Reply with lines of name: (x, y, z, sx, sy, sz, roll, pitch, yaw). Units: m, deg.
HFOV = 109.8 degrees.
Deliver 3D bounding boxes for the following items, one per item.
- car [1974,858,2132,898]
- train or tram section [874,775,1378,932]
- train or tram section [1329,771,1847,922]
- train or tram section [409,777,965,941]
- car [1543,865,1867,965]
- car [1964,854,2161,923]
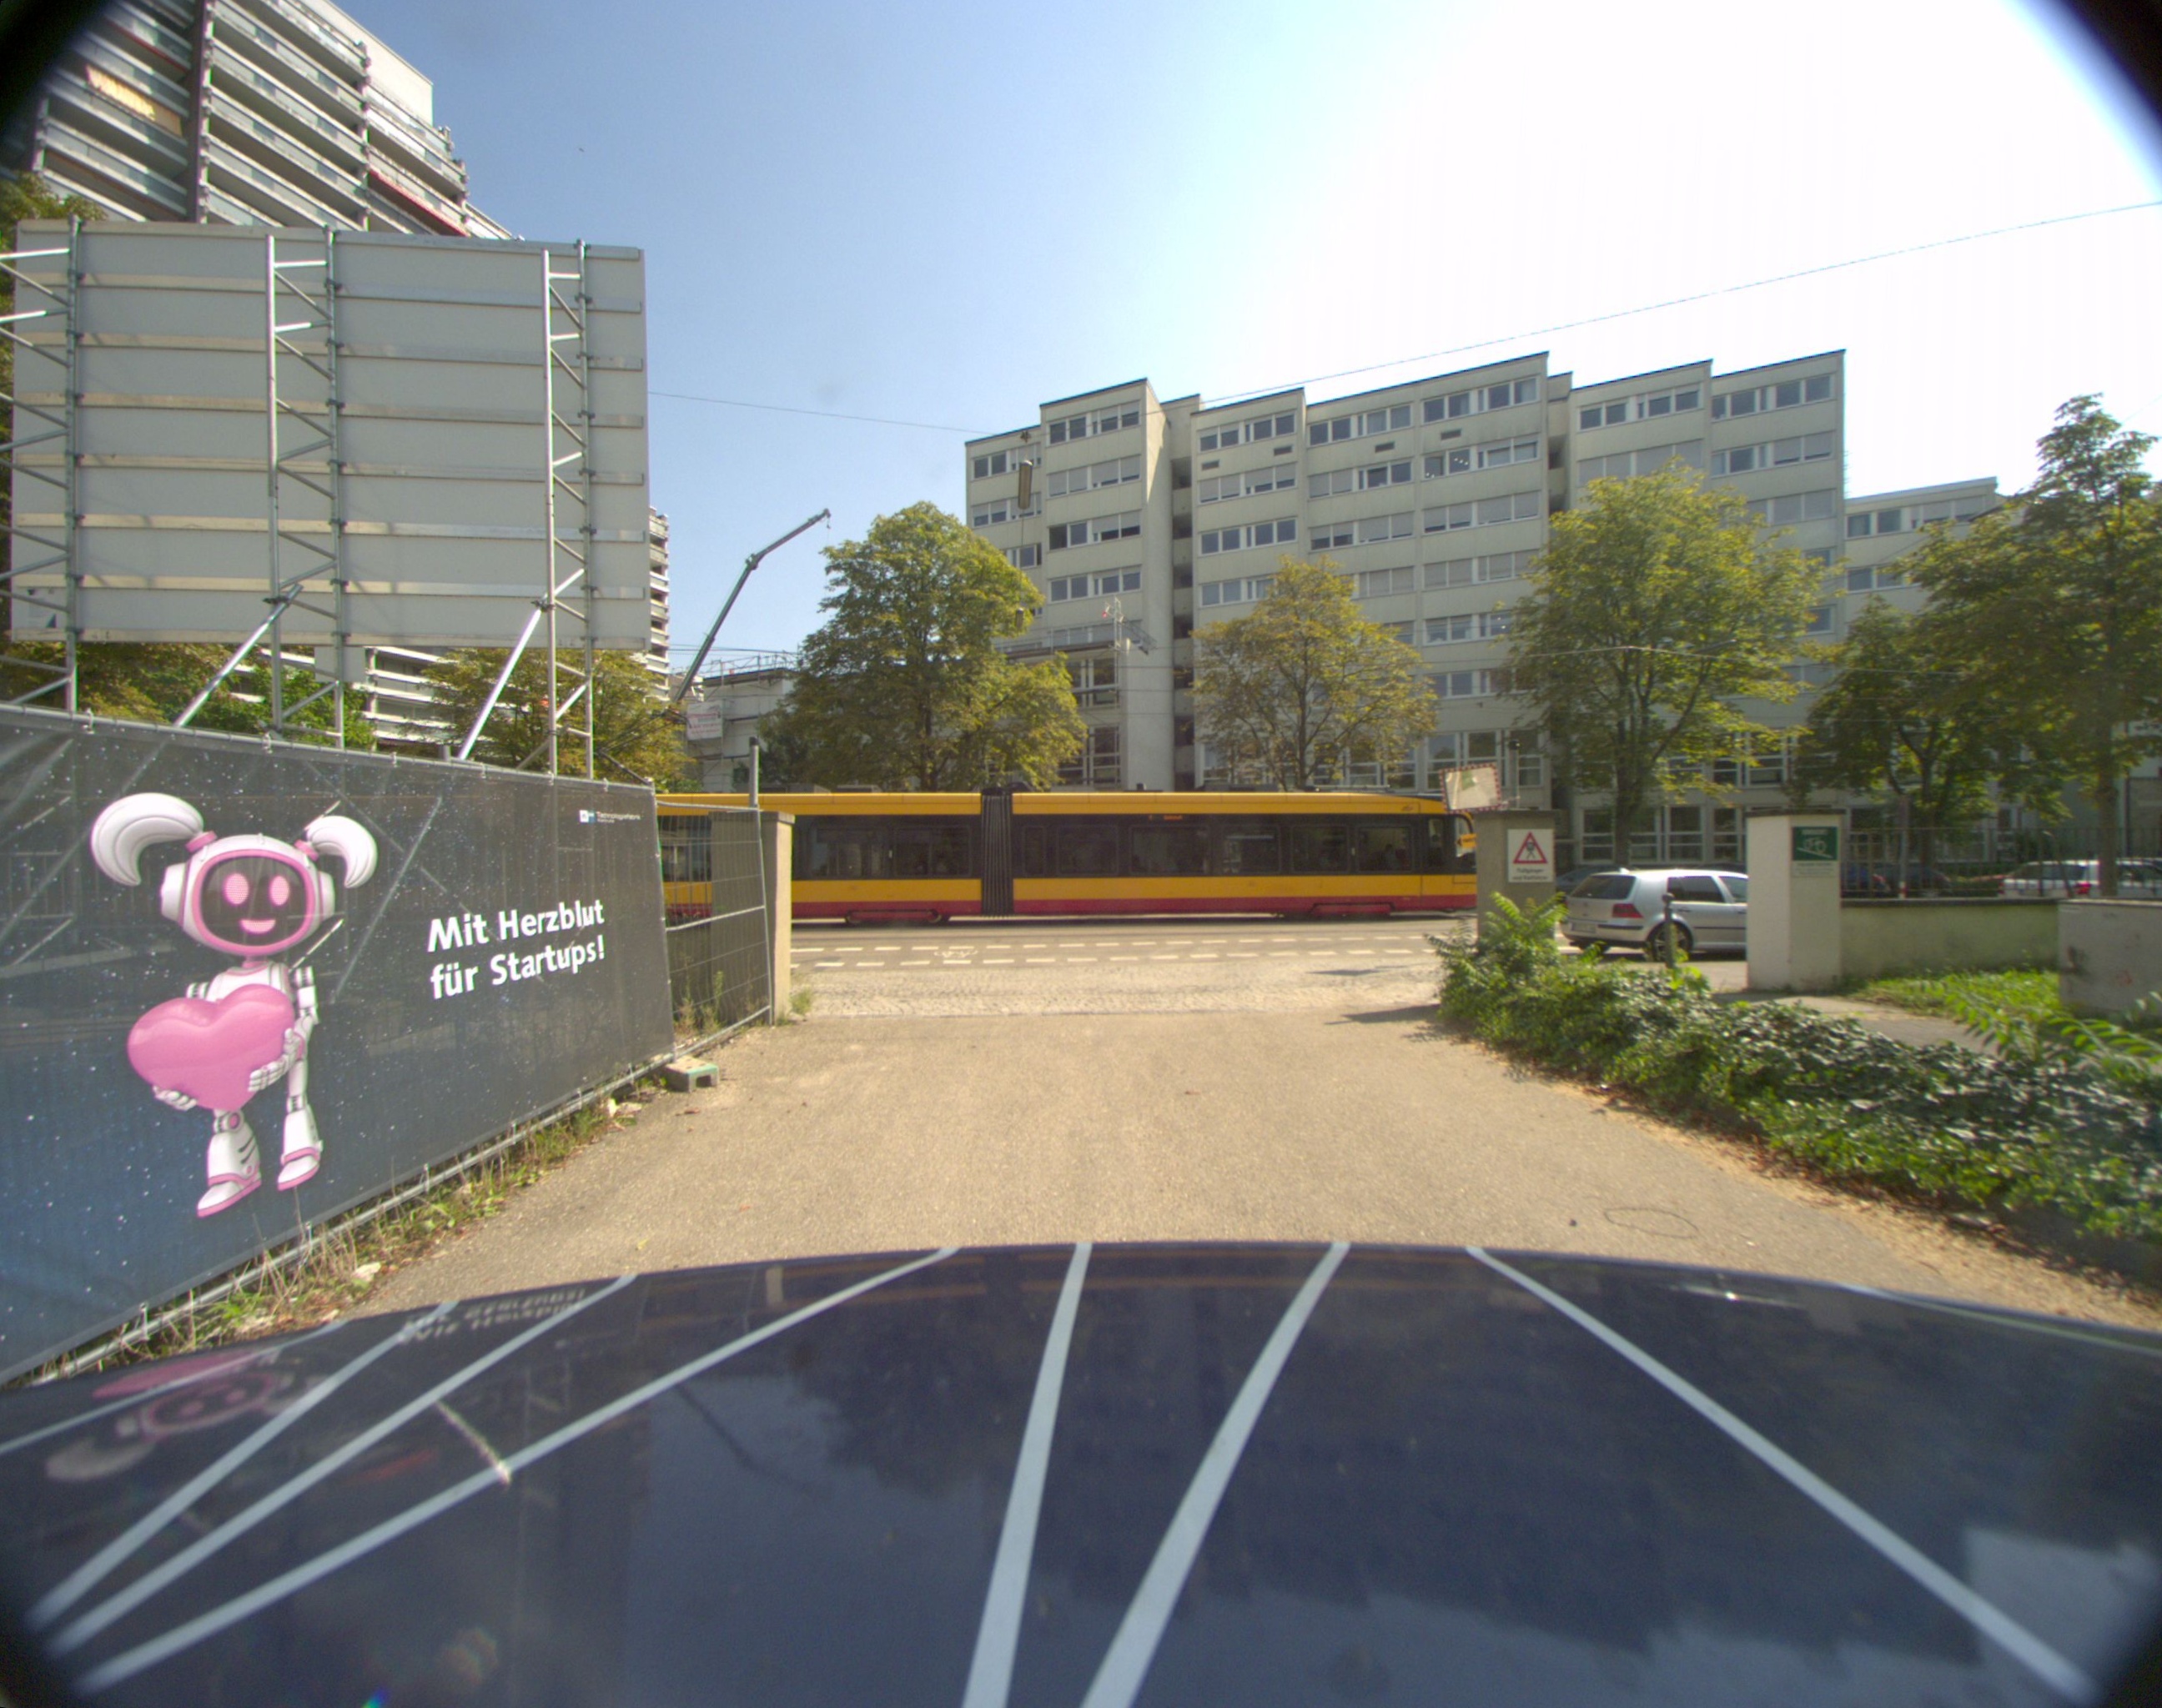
car: (38.220, 0.899, 30.031, 3.660, 1.443, 1.680, 0, 0, 45)
train or tram section: (1.131, -0.047, 20.426, 12.406, 3.683, 3.507, -1, 1, -3)
train or tram section: (13.670, -0.227, 21.173, 12.406, 3.683, 3.507, -1, 1, -3)
train or tram section: (-9.470, 0.079, 19.770, 12.406, 3.683, 3.507, -1, 1, -3)
car: (9.773, 0.922, 12.120, 3.730, 1.437, 1.797, 0, -1, -2)
car: (23.455, 0.764, 17.639, 4.017, 1.483, 1.825, -1, 0, -4)
